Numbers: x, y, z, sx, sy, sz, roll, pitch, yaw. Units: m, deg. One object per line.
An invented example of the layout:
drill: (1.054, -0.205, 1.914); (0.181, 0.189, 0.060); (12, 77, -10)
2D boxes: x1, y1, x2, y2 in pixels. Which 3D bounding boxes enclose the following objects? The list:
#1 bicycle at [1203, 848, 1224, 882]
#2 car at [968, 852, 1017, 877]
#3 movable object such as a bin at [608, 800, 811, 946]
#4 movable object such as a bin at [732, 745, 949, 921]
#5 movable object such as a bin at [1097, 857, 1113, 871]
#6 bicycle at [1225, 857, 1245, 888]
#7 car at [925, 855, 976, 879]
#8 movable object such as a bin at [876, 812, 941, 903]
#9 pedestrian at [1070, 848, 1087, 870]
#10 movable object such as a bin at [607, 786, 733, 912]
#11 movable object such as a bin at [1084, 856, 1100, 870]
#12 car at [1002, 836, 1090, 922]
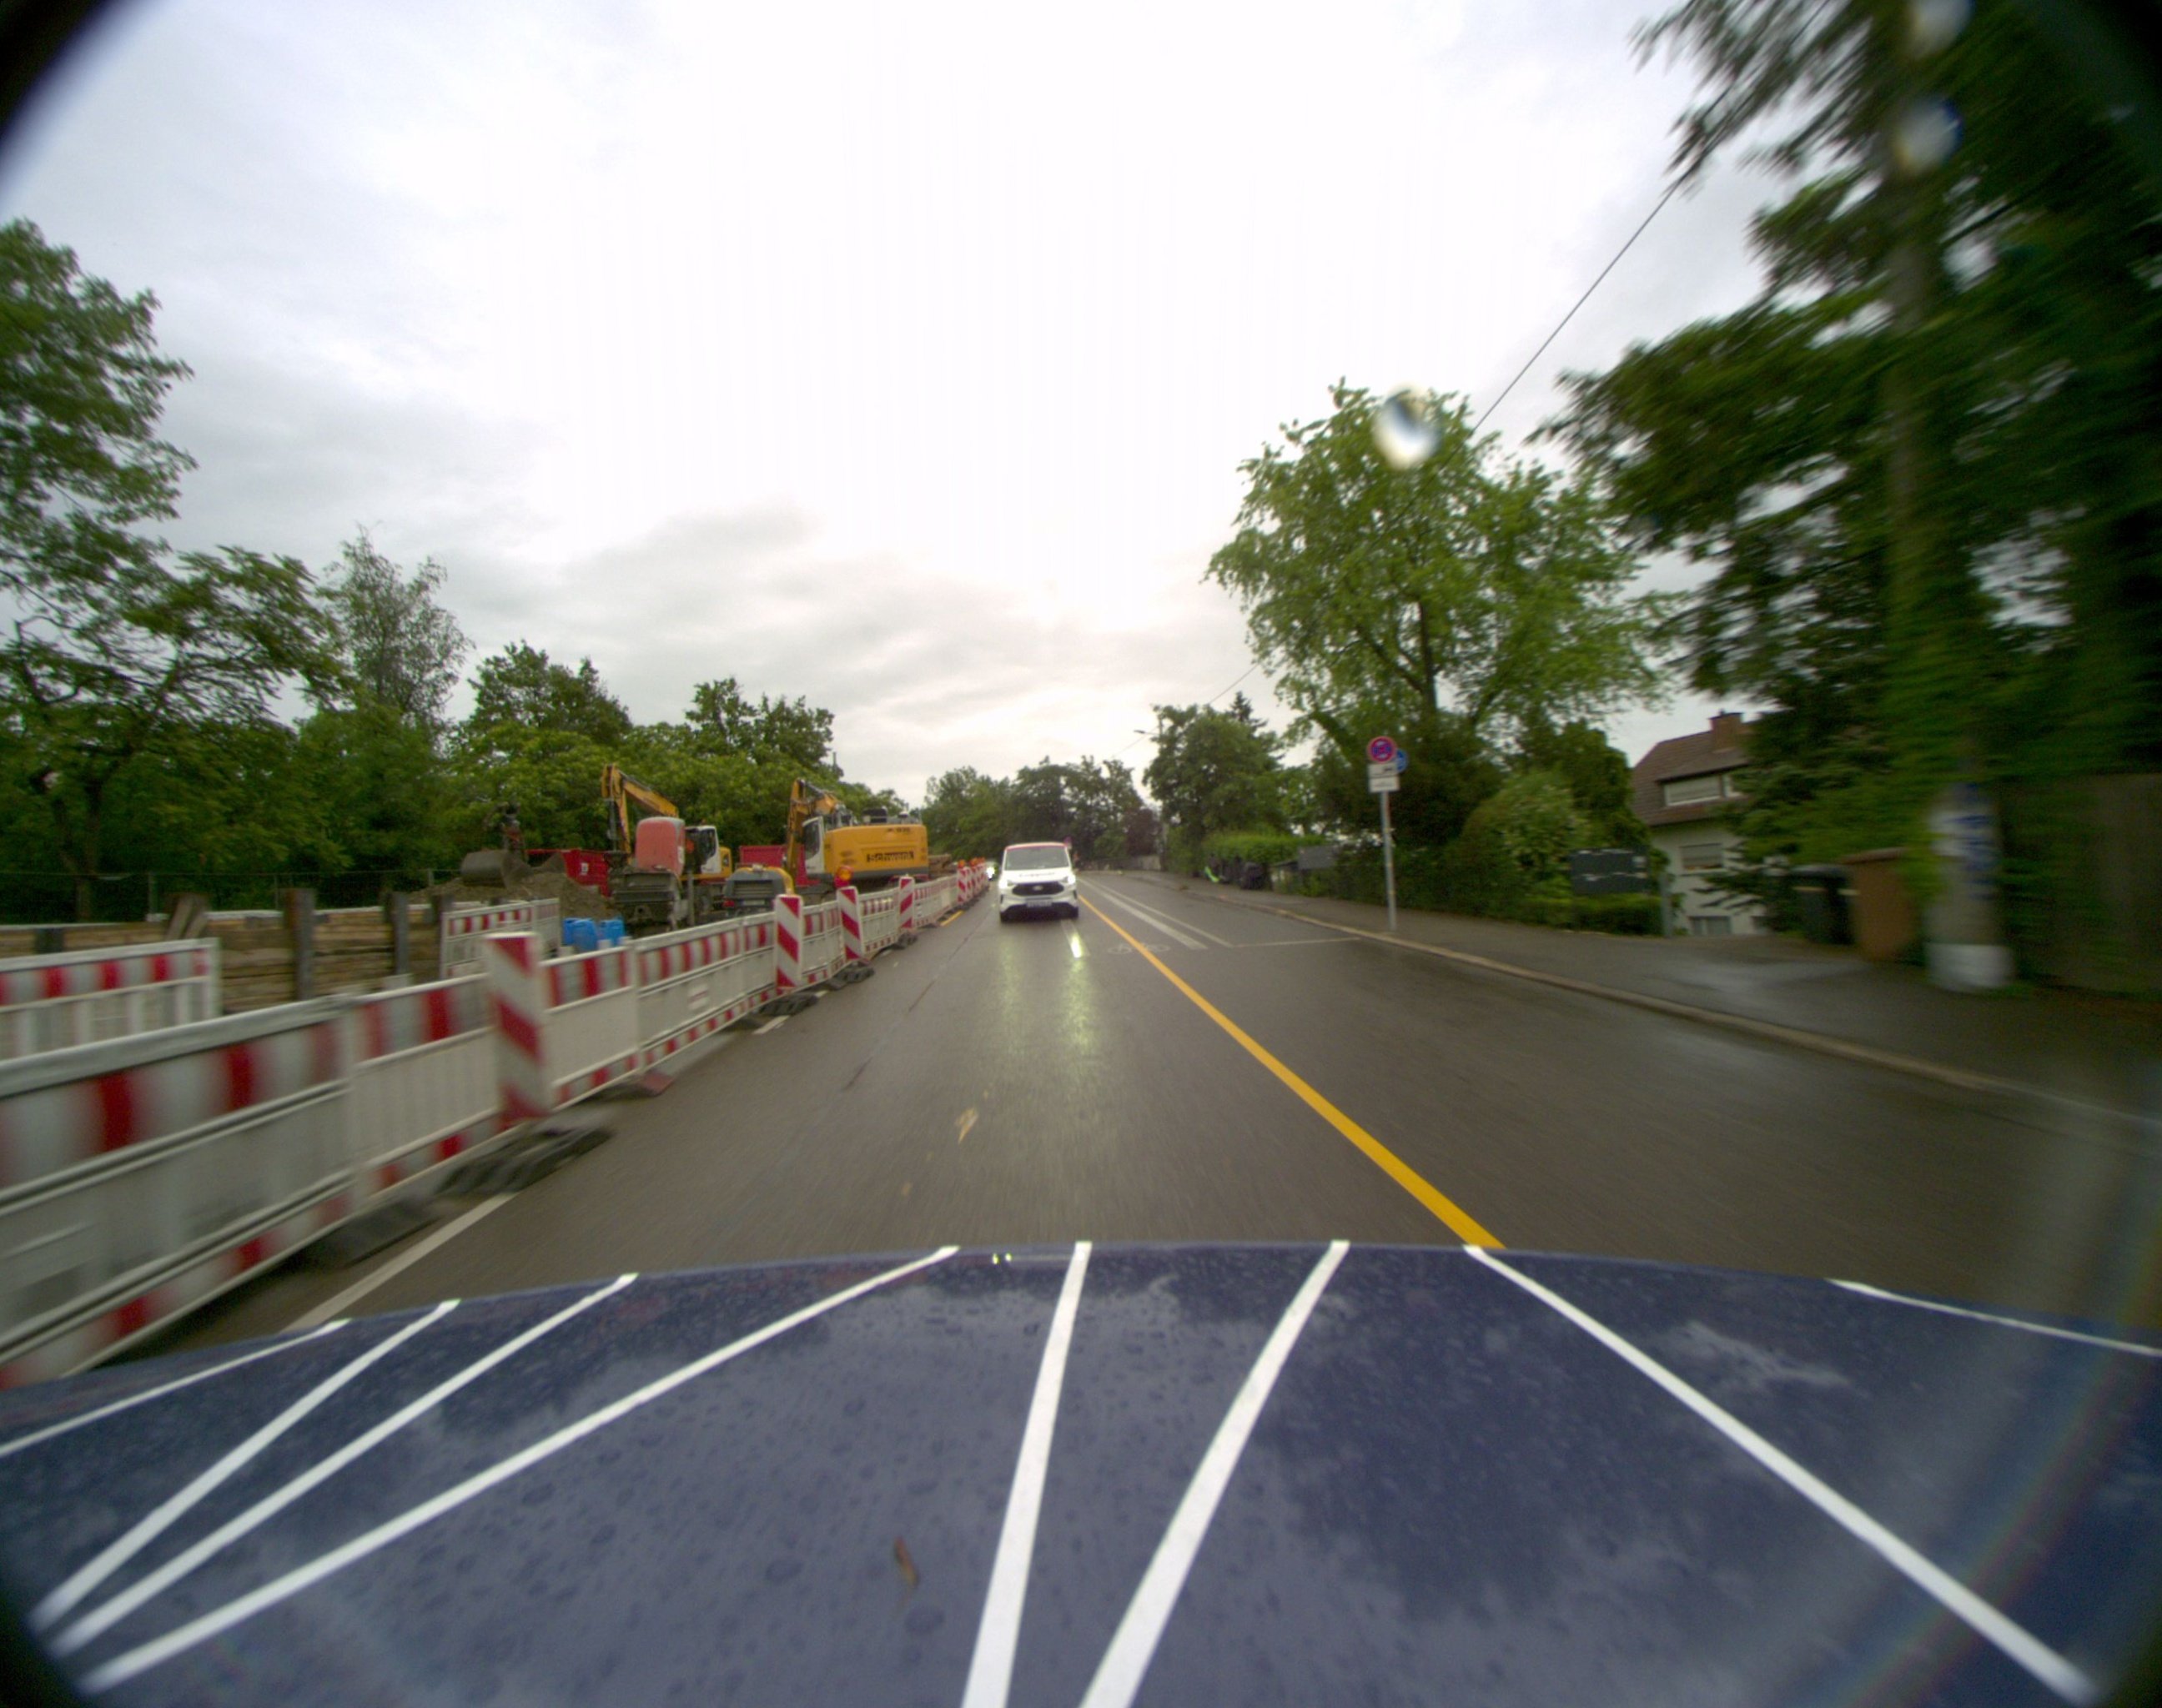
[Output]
bicycle: (5.420, 0.433, 31.149); (0.421, 1.342, 1.742); (-3, 2, -3)
car: (-8.133, 0.976, 69.659); (2.004, 2.001, 4.937); (-2, -2, -40)
movable object such as a bin: (-9.128, 0.523, 19.063); (4.001, 3.182, 2.407); (-3, -5, -13)
movable object such as a bin: (-8.745, -0.697, 26.241); (3.072, 4.892, 10.788); (-5, 4, -39)
movable object such as a bin: (2.034, 0.838, 64.205); (0.990, 1.099, 1.026); (-1, -3, -23)
bicycle: (5.635, 0.665, 27.866); (0.339, 1.101, 1.255); (-3, 2, -3)
car: (-12.685, 1.289, 73.905); (4.801, 2.001, 1.875); (-5, -3, 33)
movable object such as a bin: (-6.766, 0.054, 30.266); (2.000, 3.287, 3.831); (-3, 3, -7)
pedestrian: (-0.242, 0.395, 62.191); (0.927, 1.757, 0.978); (-2, -1, -33)
movable object such as a bin: (-13.947, -0.139, 26.144); (1.999, 3.866, 4.615); (-3, 0, -6)
movable object such as a bin: (0.929, 0.753, 63.623); (0.990, 1.099, 1.026); (-1, -2, -23)
car: (-1.081, 0.658, 20.509); (2.000, 2.001, 4.947); (1, -1, -7)
